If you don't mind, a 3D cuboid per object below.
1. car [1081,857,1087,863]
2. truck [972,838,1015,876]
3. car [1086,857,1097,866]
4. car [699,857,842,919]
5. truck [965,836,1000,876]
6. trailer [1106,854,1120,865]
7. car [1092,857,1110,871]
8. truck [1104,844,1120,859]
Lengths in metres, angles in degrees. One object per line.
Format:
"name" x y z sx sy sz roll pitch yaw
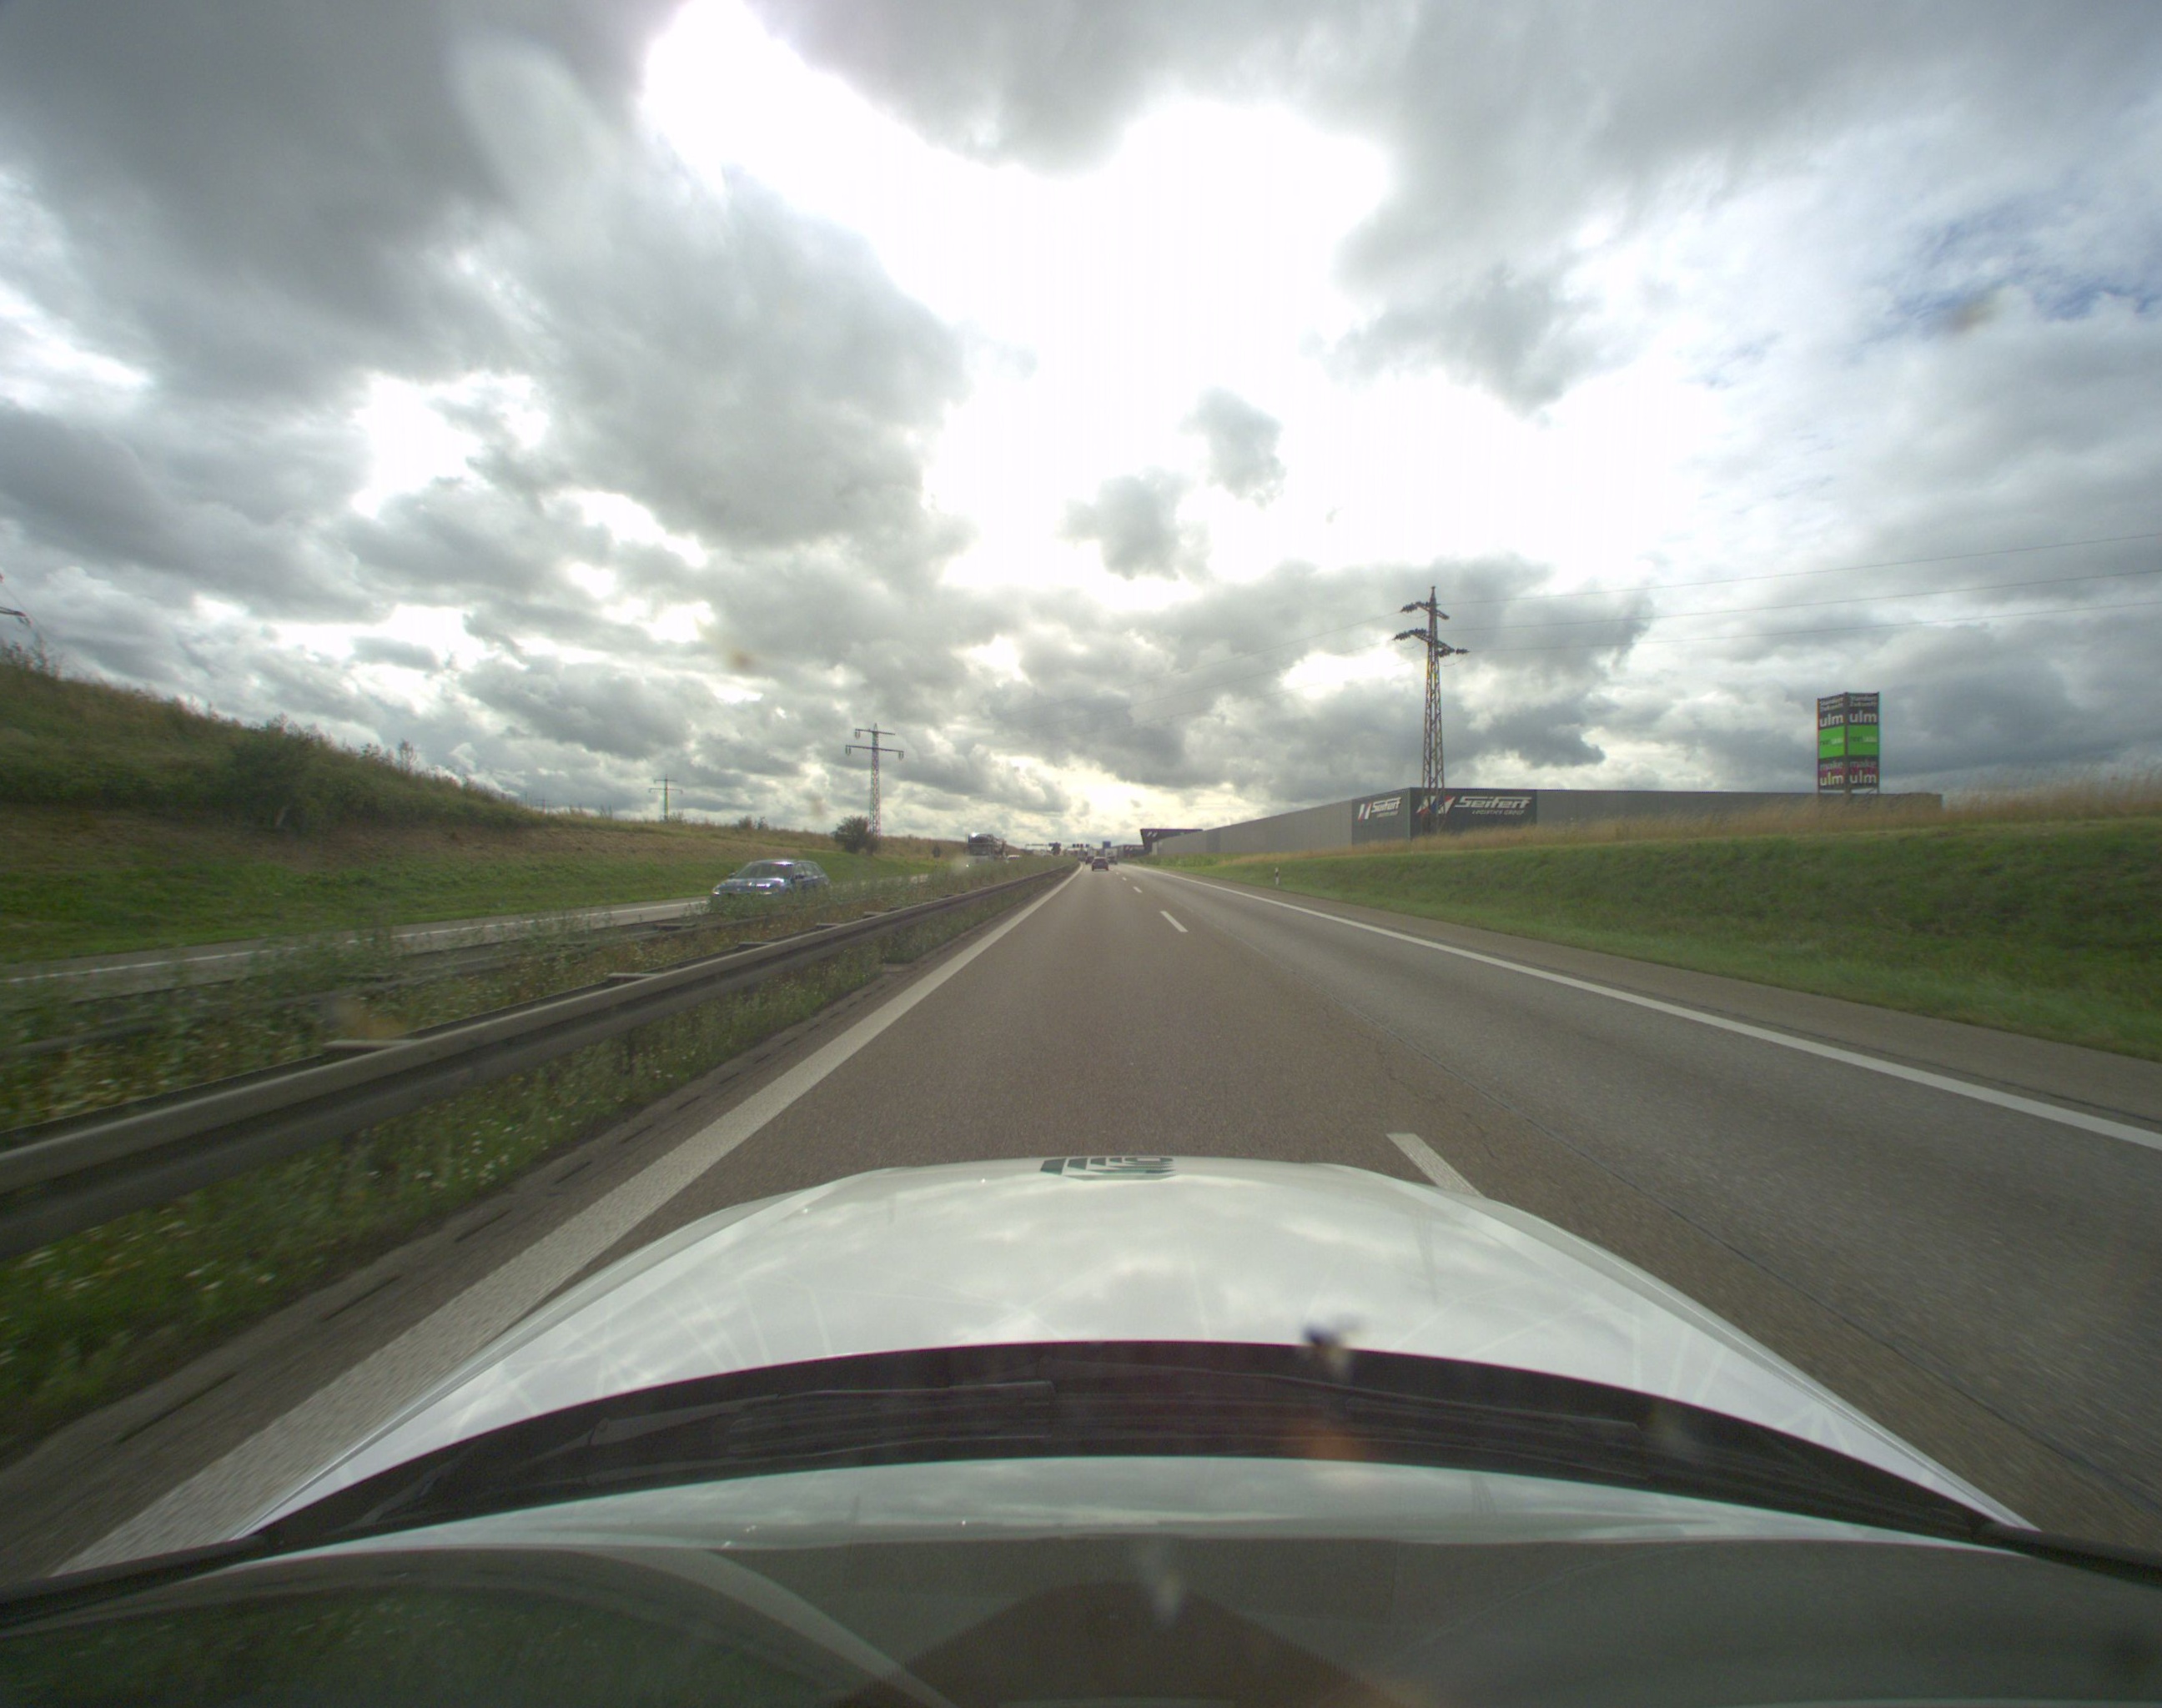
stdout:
"car" 0.915 1.731 246.291 1.936 1.775 3.696 0 -1 1
"truck" -9.958 0.334 94.811 2.713 3.936 17.405 -1 0 1
"car" 2.013 1.459 155.446 1.940 1.685 3.998 0 -1 -1
"car" -8.009 0.823 21.534 1.986 1.457 4.445 0 -1 1
"truck" -10.186 0.216 84.438 2.713 3.936 5.988 -1 0 1
"trailer" 5.919 1.007 149.304 2.331 2.136 3.998 0 -1 -1
"car" 2.107 1.070 87.175 1.741 1.453 3.998 0 -1 -1
"truck" 5.961 -0.475 156.441 2.476 2.950 5.808 0 -1 -3
